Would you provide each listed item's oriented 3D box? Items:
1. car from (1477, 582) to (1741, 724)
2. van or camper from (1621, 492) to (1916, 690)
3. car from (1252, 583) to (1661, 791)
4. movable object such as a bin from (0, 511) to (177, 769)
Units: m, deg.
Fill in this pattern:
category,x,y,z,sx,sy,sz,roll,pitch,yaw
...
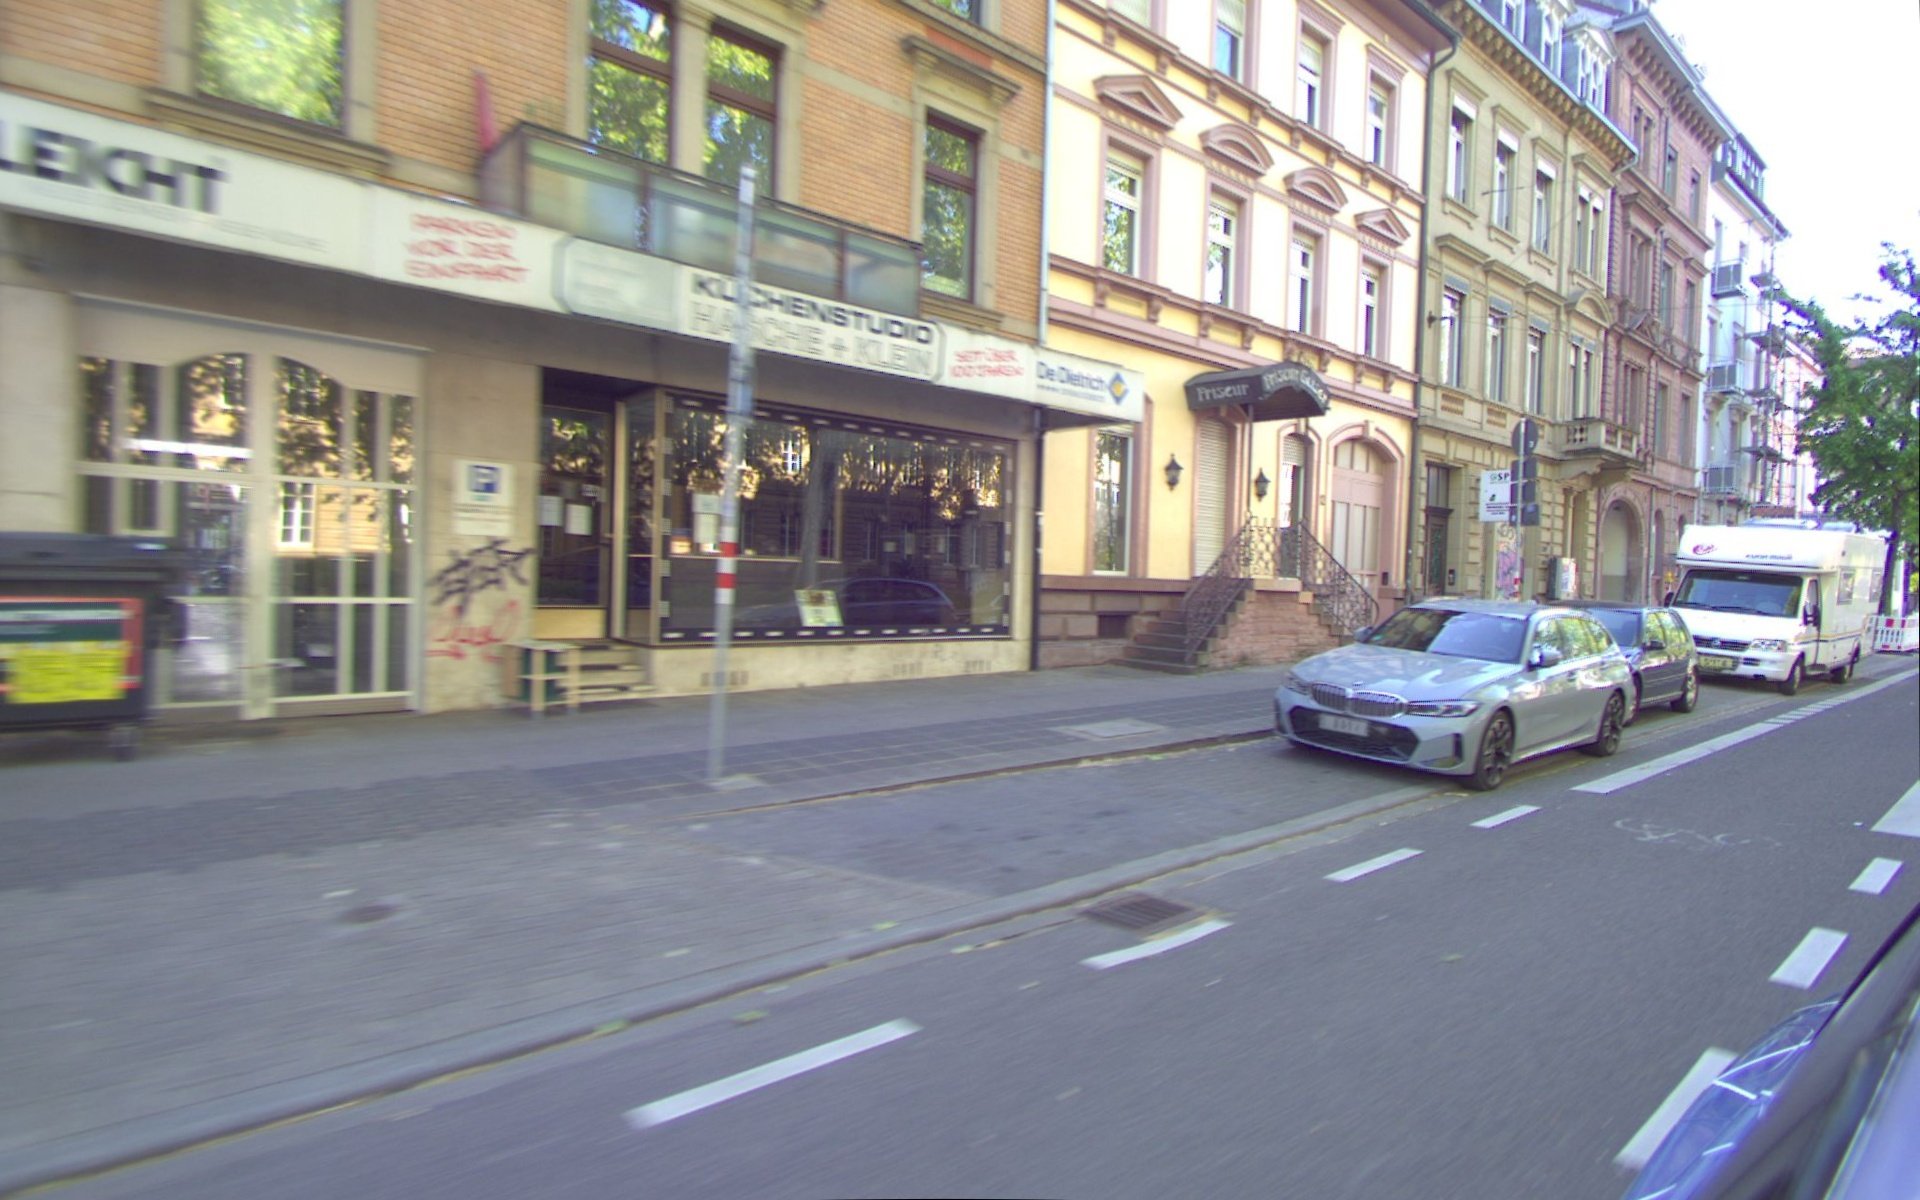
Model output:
category,x,y,z,sx,sy,sz,roll,pitch,yaw
car,8.555,0.583,13.223,3.956,1.451,1.650,0,5,-39
van or camper,15.325,-0.235,18.931,7.741,3.006,2.485,0,5,-39
car,4.903,0.627,9.672,4.583,1.452,1.814,0,3,-41
movable object such as a bin,-5.993,0.218,6.677,1.263,1.539,1.296,0,1,-40
